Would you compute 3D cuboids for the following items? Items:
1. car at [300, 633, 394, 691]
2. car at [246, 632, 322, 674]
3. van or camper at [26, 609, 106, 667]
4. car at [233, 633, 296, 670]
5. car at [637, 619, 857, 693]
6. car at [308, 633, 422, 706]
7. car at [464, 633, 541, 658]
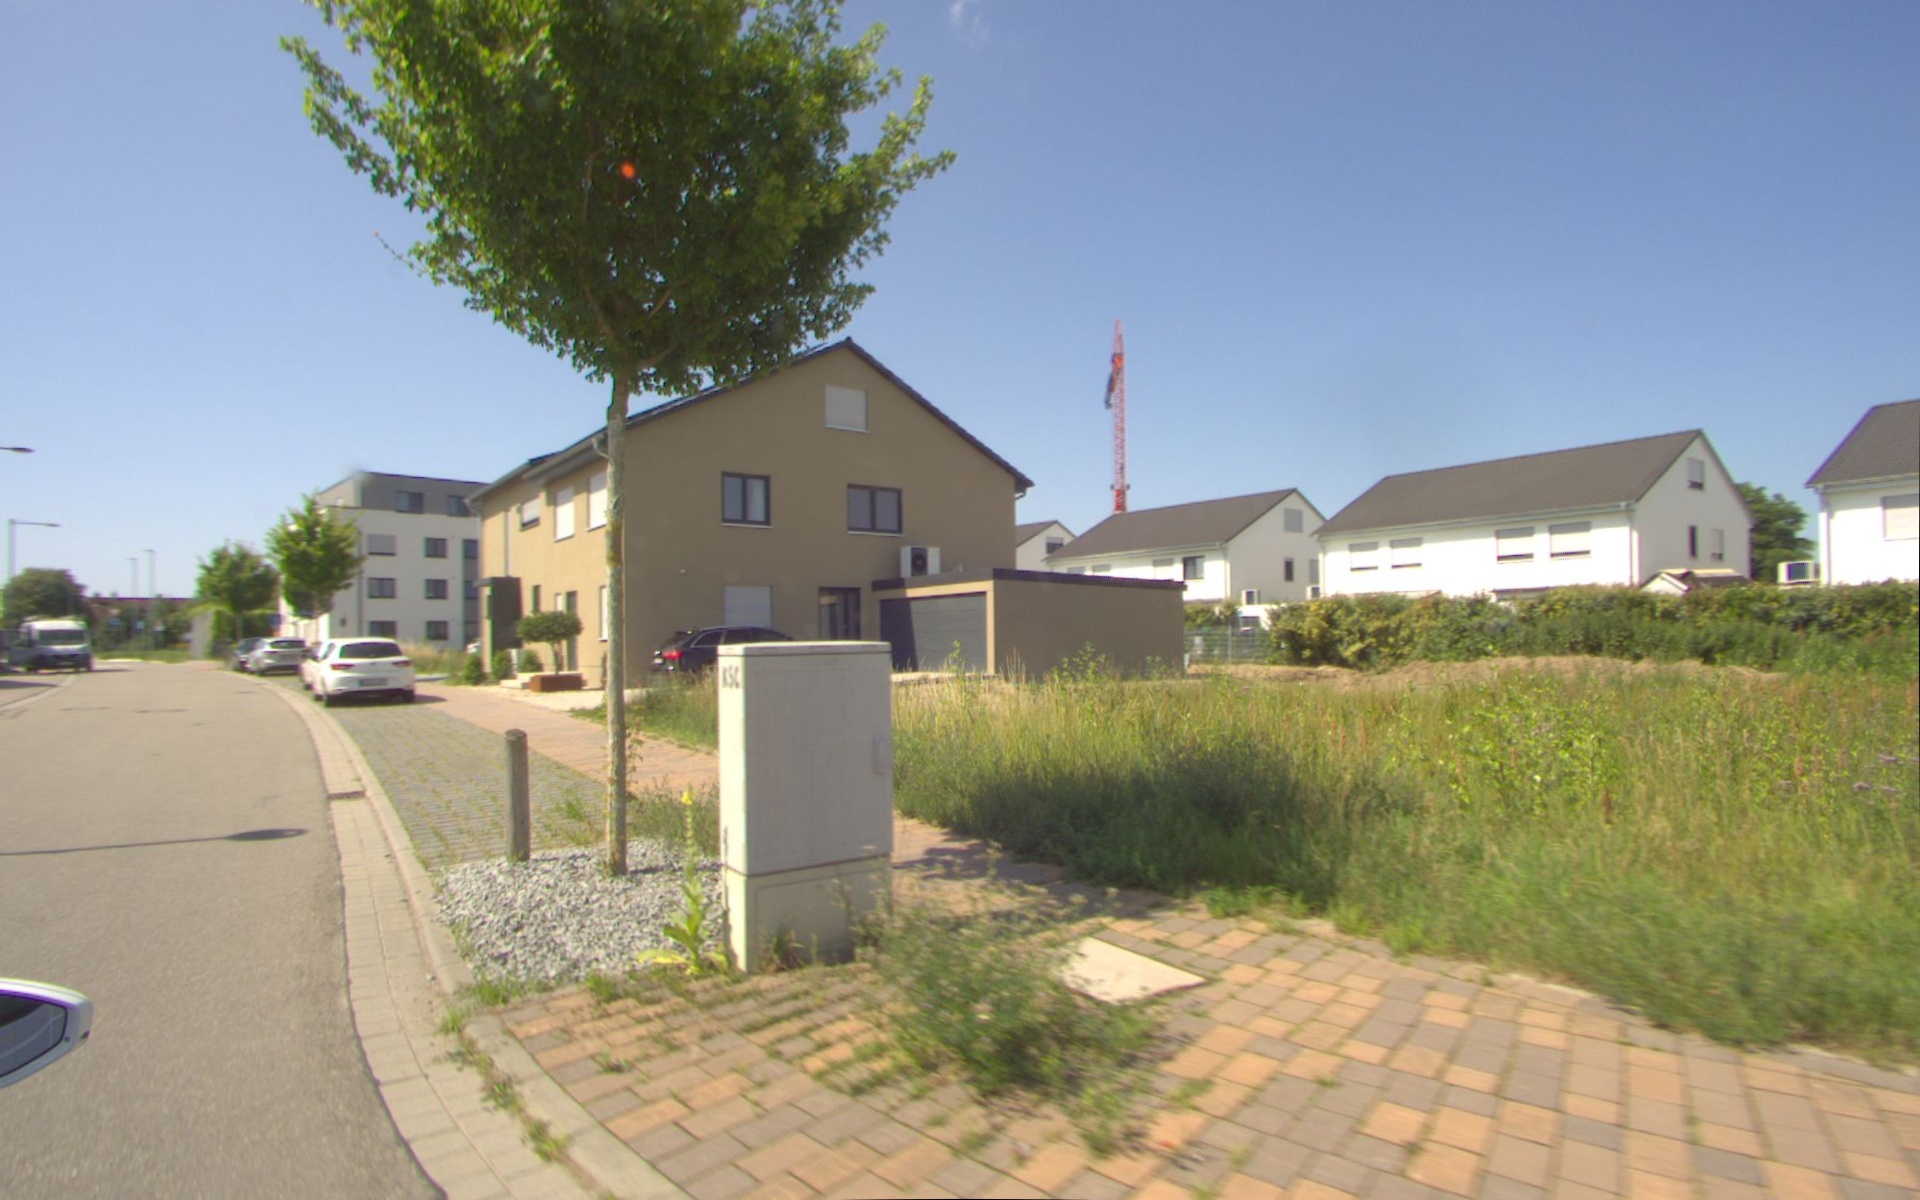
[{"bbox_3d":[-17.450,1.687,28.423,1.764,1.444,4.479,-1,0,-38],"label":"car"},{"bbox_3d":[-27.522,2.094,40.676,1.904,1.531,5.248,-1,-1,-41],"label":"car"},{"bbox_3d":[-42.491,1.839,47.531,6.300,2.585,2.261,-3,-3,43],"label":"van or camper"},{"bbox_3d":[-31.459,2.277,45.223,1.903,1.489,5.098,-1,-1,-39],"label":"car"},{"bbox_3d":[-5.113,1.288,24.362,4.840,1.444,1.987,-2,0,-36],"label":"car"},{"bbox_3d":[-13.888,1.541,23.238,1.798,1.475,4.532,-1,-1,-37],"label":"car"},{"bbox_3d":[-29.325,2.912,64.291,4.130,1.453,1.866,1,-3,-44],"label":"car"}]
